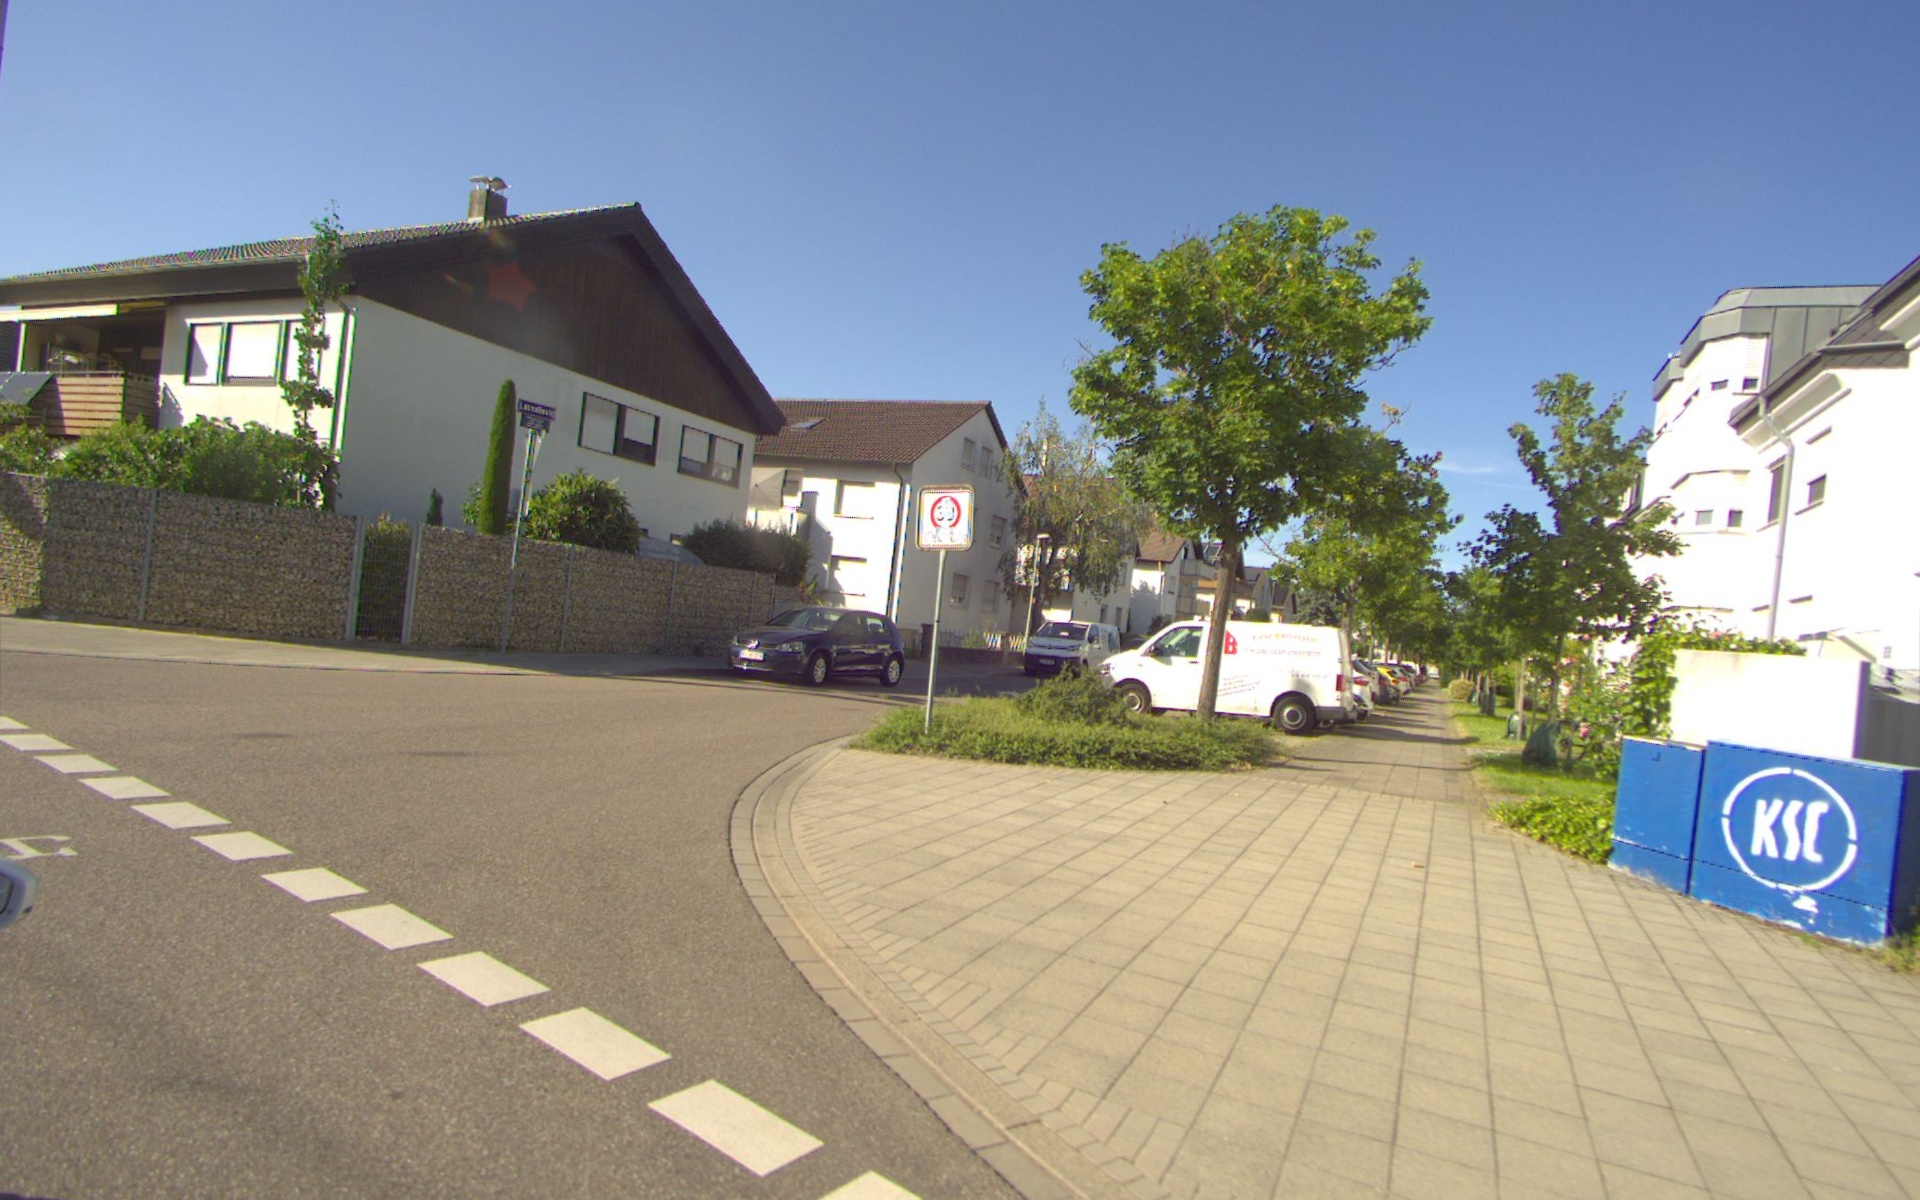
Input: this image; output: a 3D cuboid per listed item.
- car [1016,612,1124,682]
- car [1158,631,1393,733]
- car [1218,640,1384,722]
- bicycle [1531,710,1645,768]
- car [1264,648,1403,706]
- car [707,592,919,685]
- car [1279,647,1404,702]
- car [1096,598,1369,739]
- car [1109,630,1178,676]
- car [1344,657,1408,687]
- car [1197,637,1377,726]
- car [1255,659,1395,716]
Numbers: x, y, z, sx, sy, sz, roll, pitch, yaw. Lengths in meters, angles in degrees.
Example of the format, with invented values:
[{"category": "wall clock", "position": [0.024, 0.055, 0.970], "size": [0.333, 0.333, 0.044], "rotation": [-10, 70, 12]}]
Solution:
[{"category": "car", "position": [3.613, 1.541, 32.223], "size": [1.843, 1.865, 4.652], "rotation": [6, -1, 25]}, {"category": "car", "position": [6.656, 1.672, 21.290], "size": [4.467, 1.612, 1.696], "rotation": [5, -1, 24]}, {"category": "car", "position": [10.380, 2.424, 30.689], "size": [4.506, 1.835, 1.708], "rotation": [6, 0, 24]}, {"category": "bicycle", "position": [9.596, 2.117, 15.395], "size": [1.395, 0.685, 0.309], "rotation": [6, -2, 17]}, {"category": "car", "position": [13.901, 2.828, 37.428], "size": [4.612, 1.524, 1.999], "rotation": [6, 0, 24]}, {"category": "car", "position": [-2.639, 0.782, 18.997], "size": [1.825, 1.389, 3.994], "rotation": [6, -1, 29]}, {"category": "car", "position": [15.129, 2.922, 39.917], "size": [4.418, 1.546, 1.996], "rotation": [6, 0, 24]}, {"category": "car", "position": [5.126, 1.228, 19.032], "size": [4.564, 1.973, 1.834], "rotation": [6, 0, 26]}, {"category": "car", "position": [7.243, 2.110, 39.426], "size": [1.587, 1.521, 3.998], "rotation": [6, -1, 24]}, {"category": "car", "position": [30.780, 5.312, 74.432], "size": [4.134, 1.728, 1.853], "rotation": [6, 0, 24]}, {"category": "car", "position": [7.610, 1.842, 23.425], "size": [3.721, 1.613, 1.695], "rotation": [5, 0, 24]}, {"category": "car", "position": [12.676, 3.002, 34.926], "size": [4.357, 1.337, 1.794], "rotation": [6, 0, 24]}]
